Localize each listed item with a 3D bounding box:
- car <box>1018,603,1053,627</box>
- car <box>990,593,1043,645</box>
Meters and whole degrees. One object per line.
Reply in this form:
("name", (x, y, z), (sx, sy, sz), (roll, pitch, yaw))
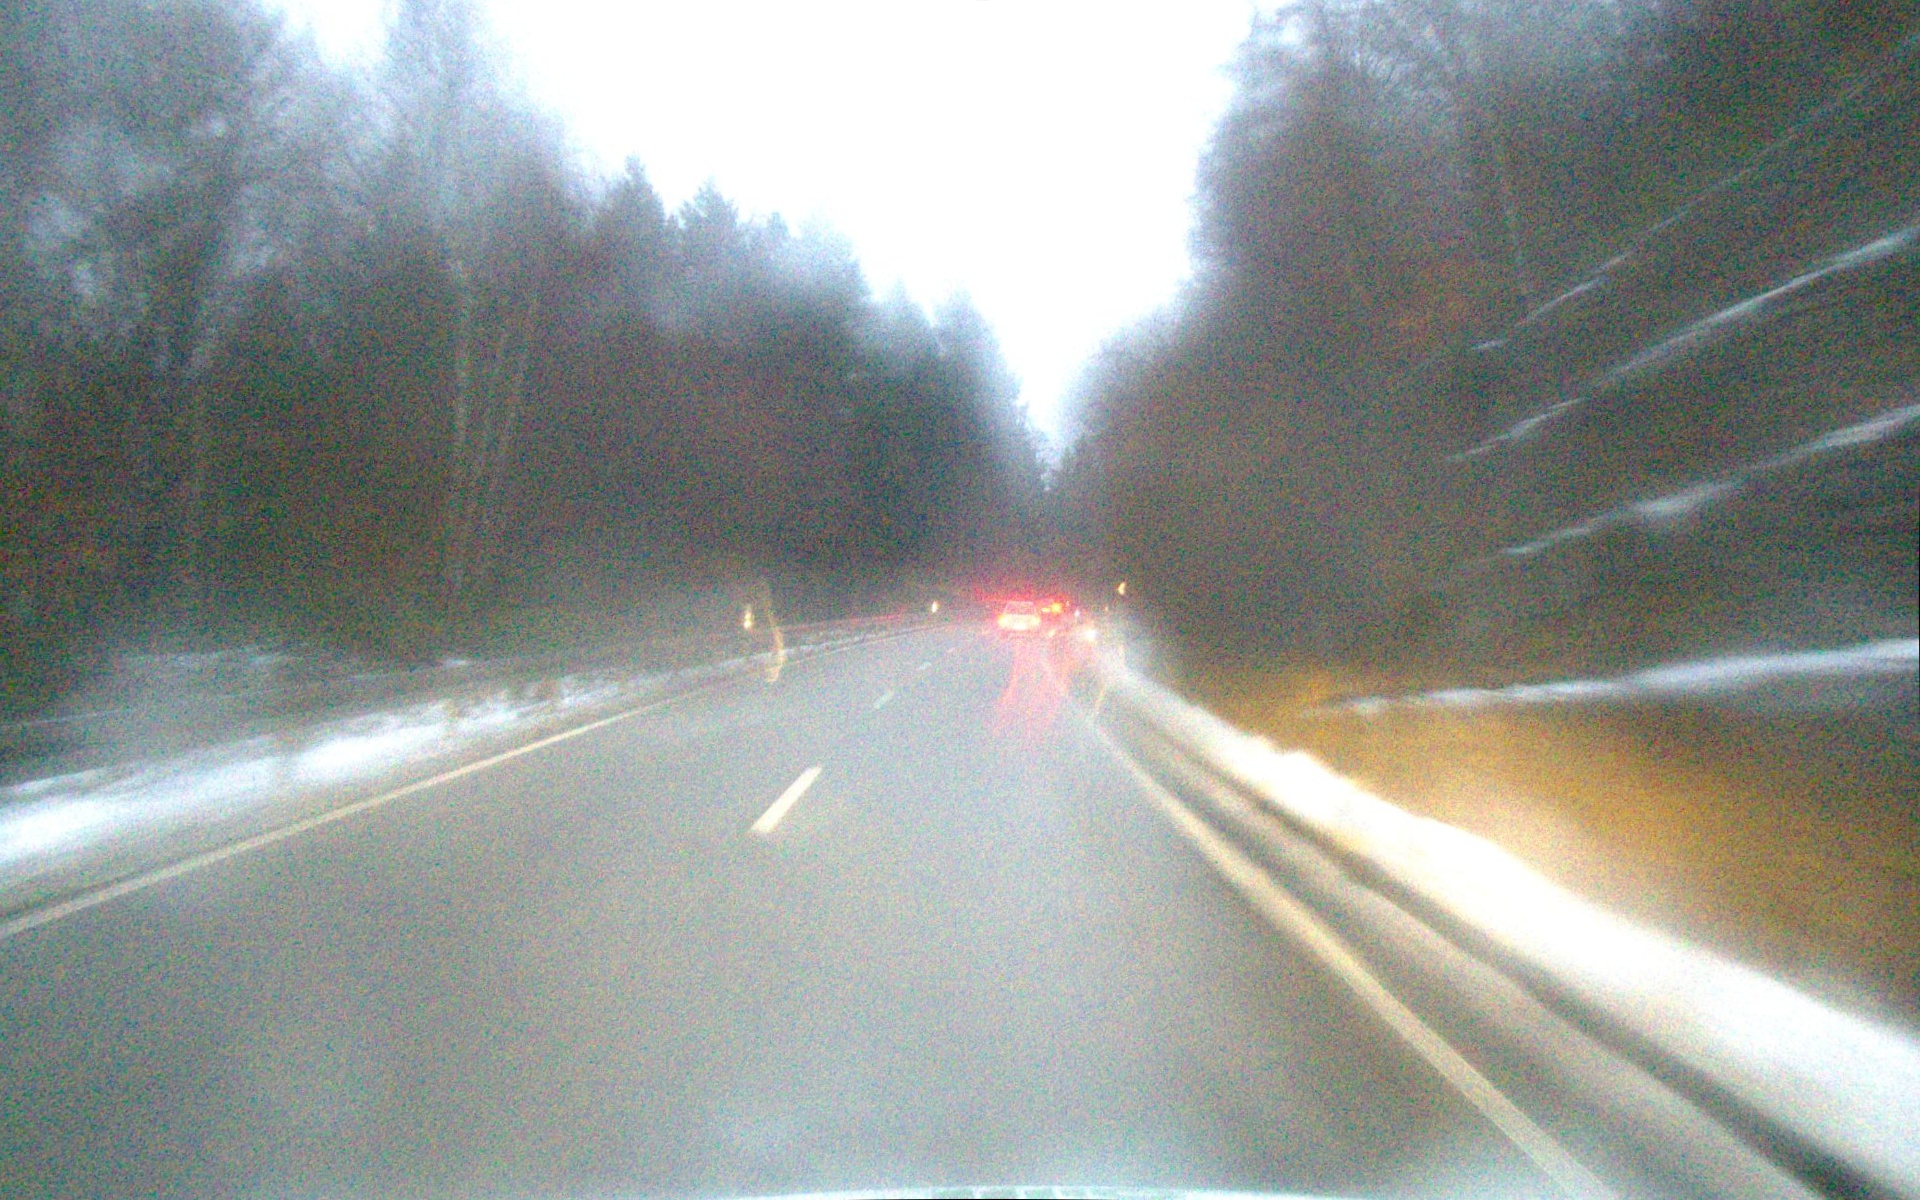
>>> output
("car", (4.609, 0.896, 101.843), (1.953, 1.333, 4.000), (-3, 0, 0))
("car", (2.260, 0.743, 66.957), (1.953, 1.905, 4.000), (-3, 0, 0))
